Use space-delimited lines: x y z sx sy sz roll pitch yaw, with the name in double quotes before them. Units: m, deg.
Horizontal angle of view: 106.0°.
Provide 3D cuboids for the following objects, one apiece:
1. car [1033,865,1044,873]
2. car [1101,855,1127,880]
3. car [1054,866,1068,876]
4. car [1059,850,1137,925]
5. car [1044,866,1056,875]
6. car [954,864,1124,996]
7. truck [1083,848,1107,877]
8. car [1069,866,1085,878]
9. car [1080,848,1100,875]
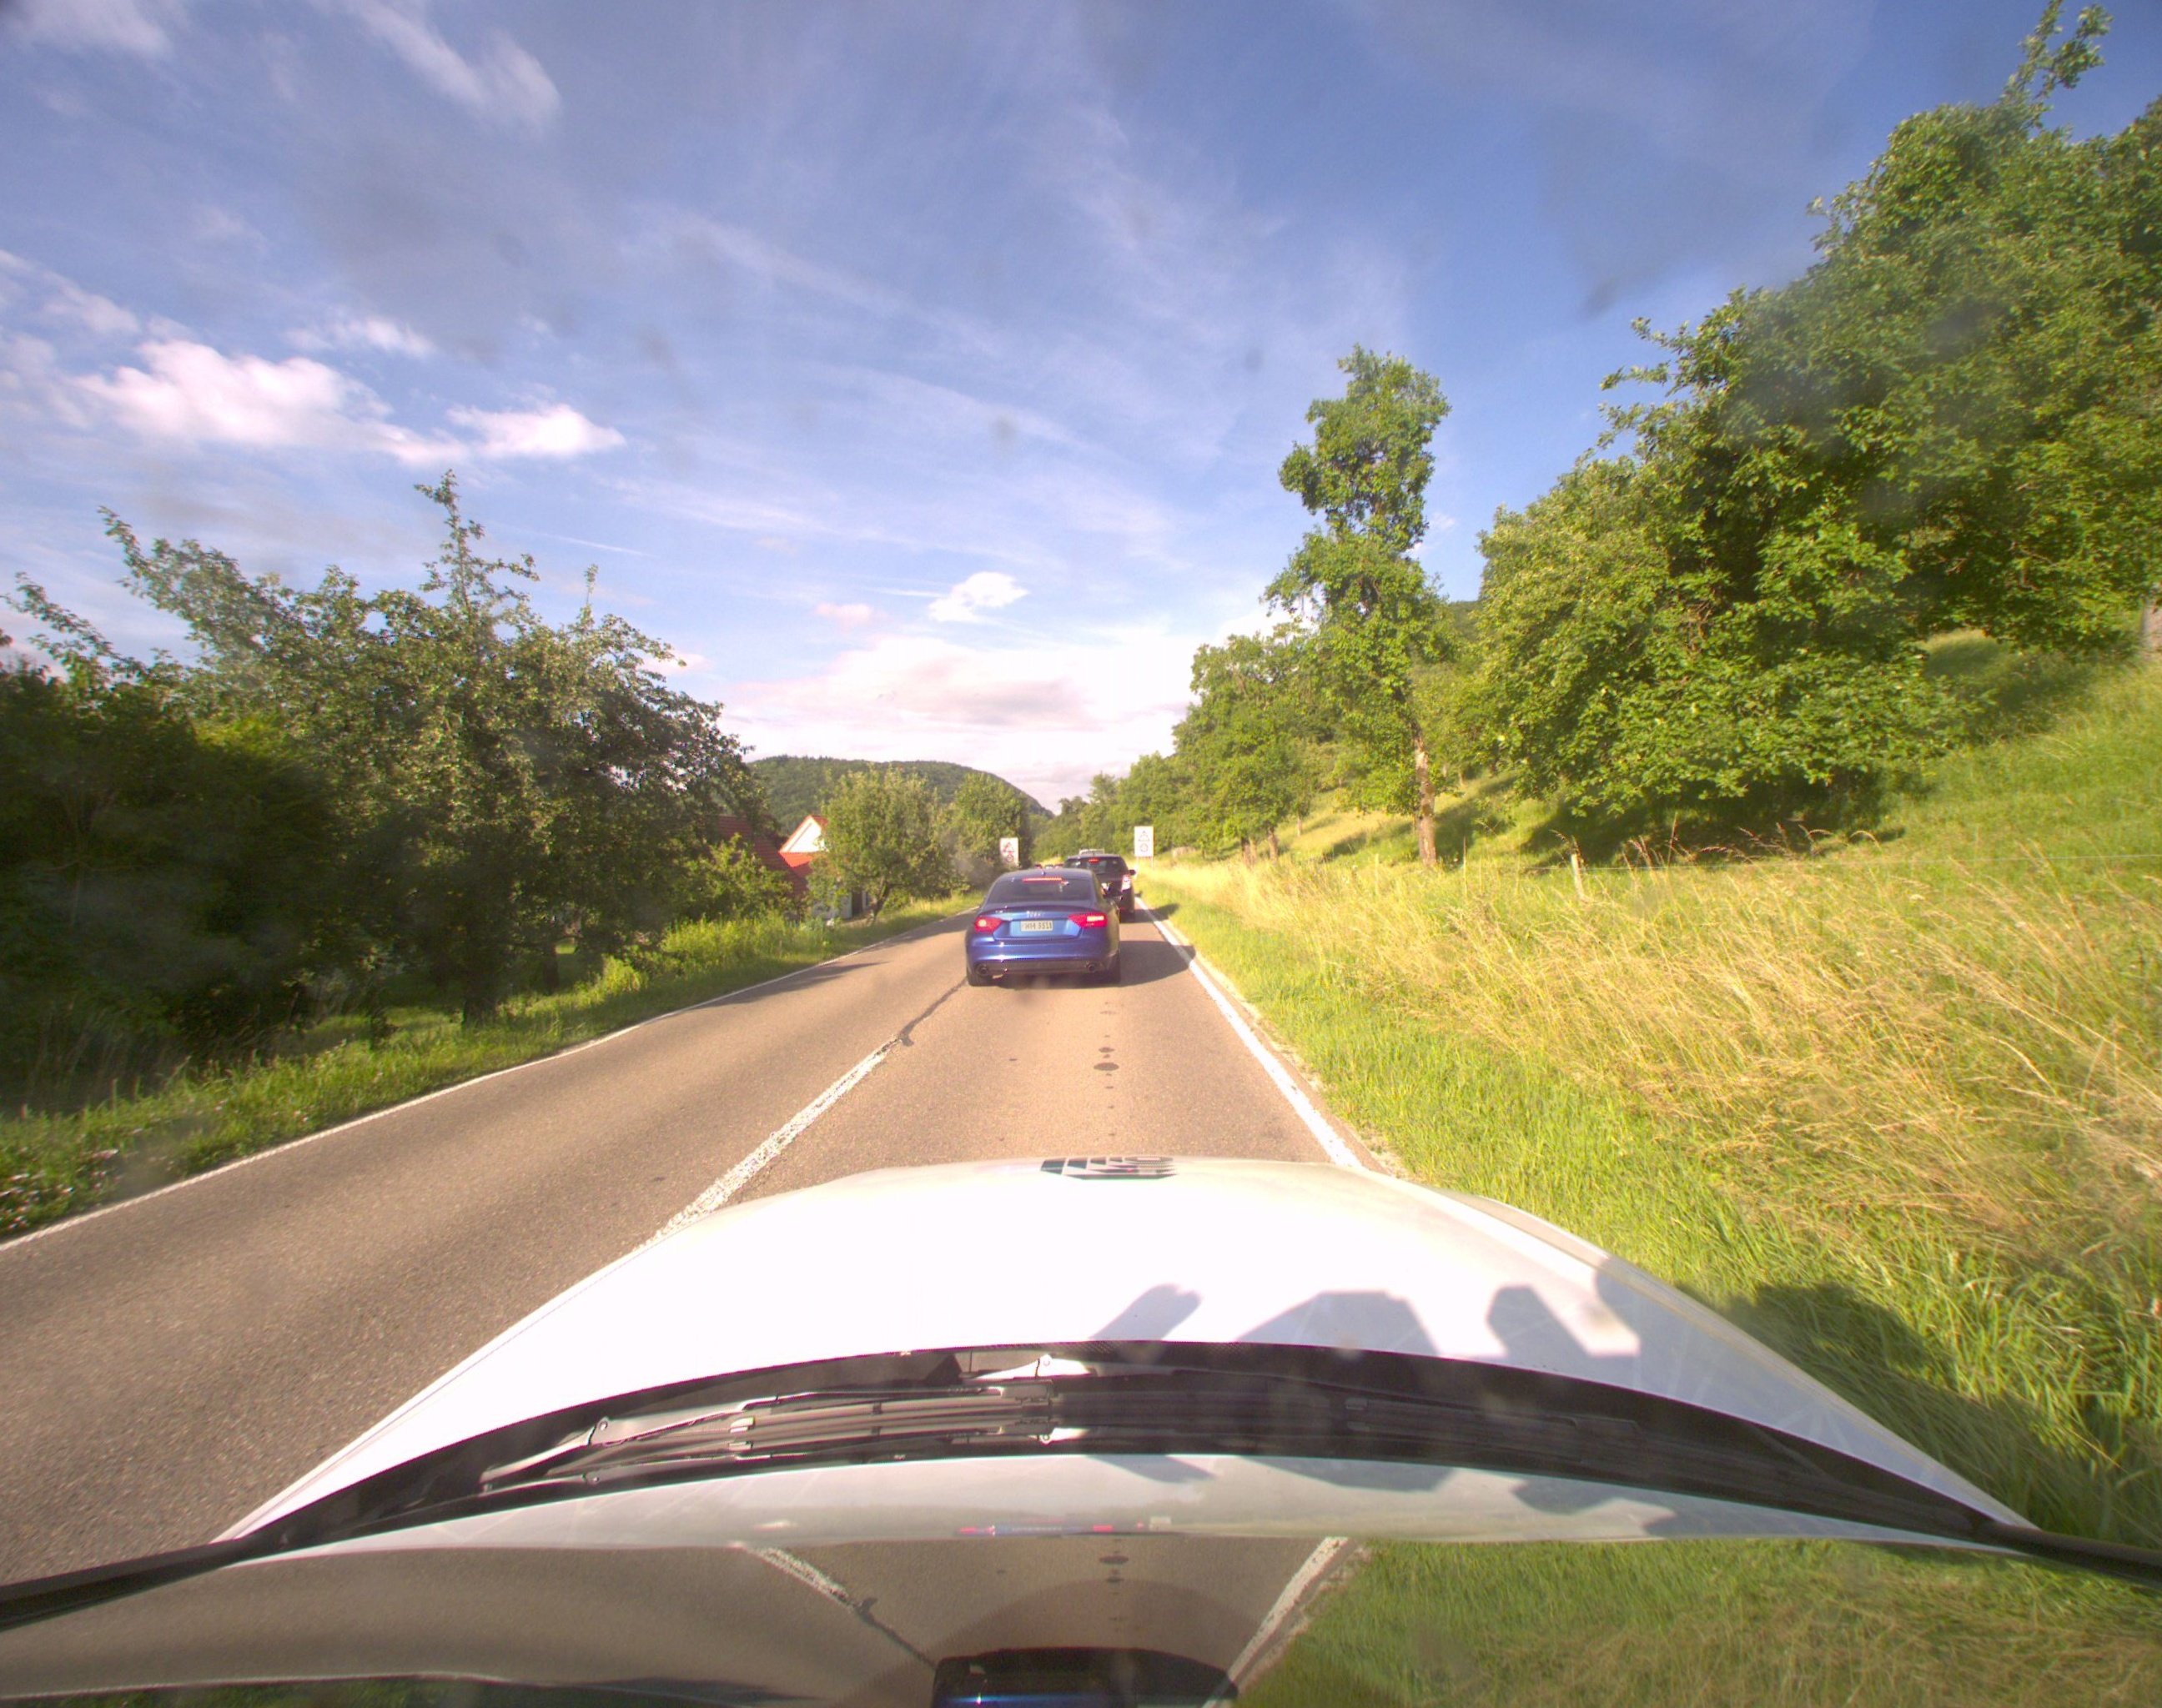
"car" -8.295 2.904 159.335 1.559 1.496 3.764 1 0 -11
"car" 2.248 0.913 55.469 1.686 1.624 3.790 -1 0 1
"car" -3.188 2.765 130.653 1.748 1.496 3.766 1 0 -9
"car" 0.417 0.739 19.640 1.686 1.624 3.790 -1 0 1
"car" -5.507 2.833 143.504 1.559 1.496 3.765 1 0 -10
"car" -0.382 0.845 10.869 1.799 1.382 4.216 -1 -1 2
"truck" 1.195 0.726 68.521 1.943 2.345 5.094 1 0 1
"car" -0.573 2.405 111.146 1.746 1.496 3.769 1 0 -7
"car" 0.809 0.717 78.296 1.787 2.453 3.917 1 0 -1
